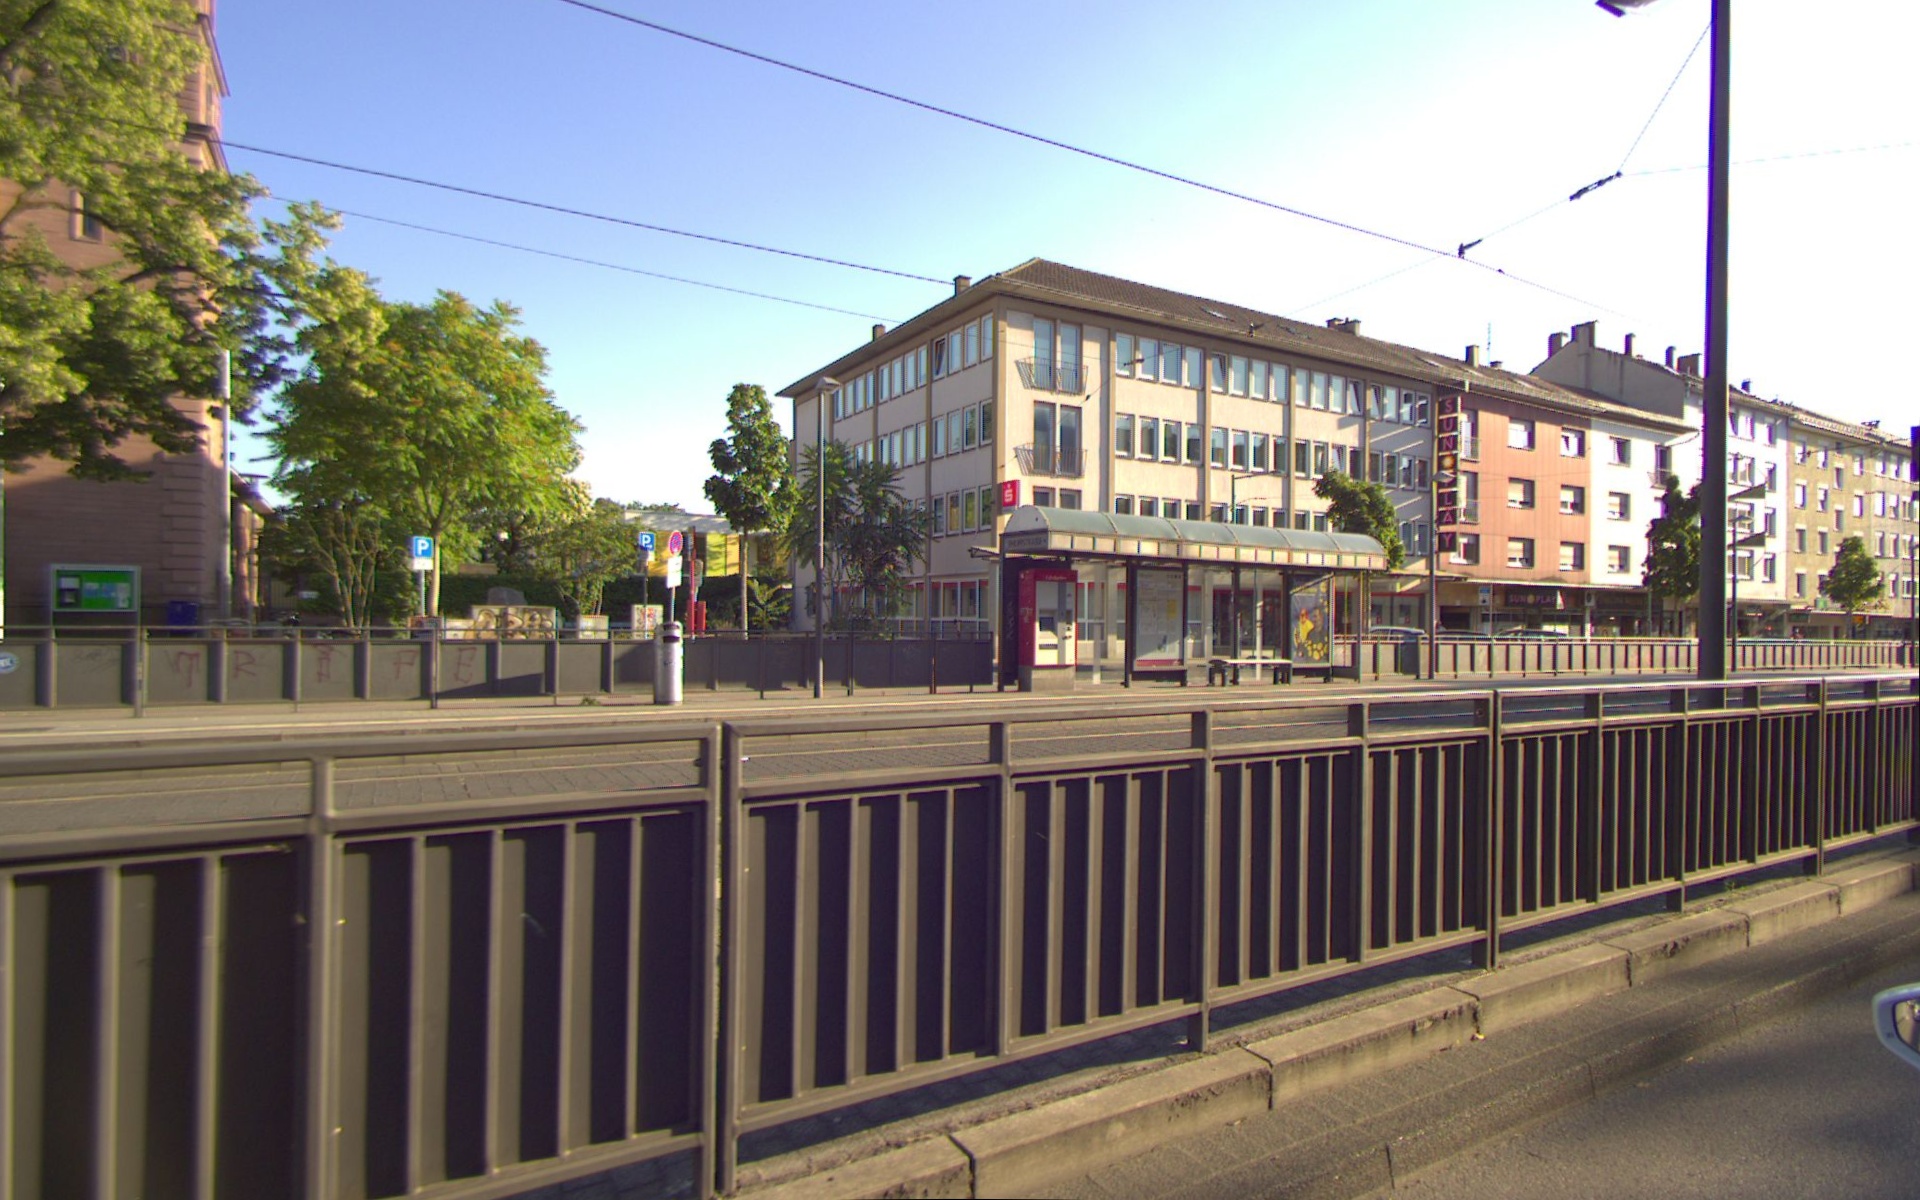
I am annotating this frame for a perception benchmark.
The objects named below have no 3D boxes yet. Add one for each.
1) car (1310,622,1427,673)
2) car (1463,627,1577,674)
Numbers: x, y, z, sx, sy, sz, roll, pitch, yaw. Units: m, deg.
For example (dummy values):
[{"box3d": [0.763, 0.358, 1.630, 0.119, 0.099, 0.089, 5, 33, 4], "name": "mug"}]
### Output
[{"box3d": [14.089, 1.612, 34.800, 3.439, 1.702, 1.772, 0, -1, 10], "name": "car"}, {"box3d": [21.226, 1.895, 38.189, 3.440, 1.702, 1.772, 0, -1, 14], "name": "car"}]
